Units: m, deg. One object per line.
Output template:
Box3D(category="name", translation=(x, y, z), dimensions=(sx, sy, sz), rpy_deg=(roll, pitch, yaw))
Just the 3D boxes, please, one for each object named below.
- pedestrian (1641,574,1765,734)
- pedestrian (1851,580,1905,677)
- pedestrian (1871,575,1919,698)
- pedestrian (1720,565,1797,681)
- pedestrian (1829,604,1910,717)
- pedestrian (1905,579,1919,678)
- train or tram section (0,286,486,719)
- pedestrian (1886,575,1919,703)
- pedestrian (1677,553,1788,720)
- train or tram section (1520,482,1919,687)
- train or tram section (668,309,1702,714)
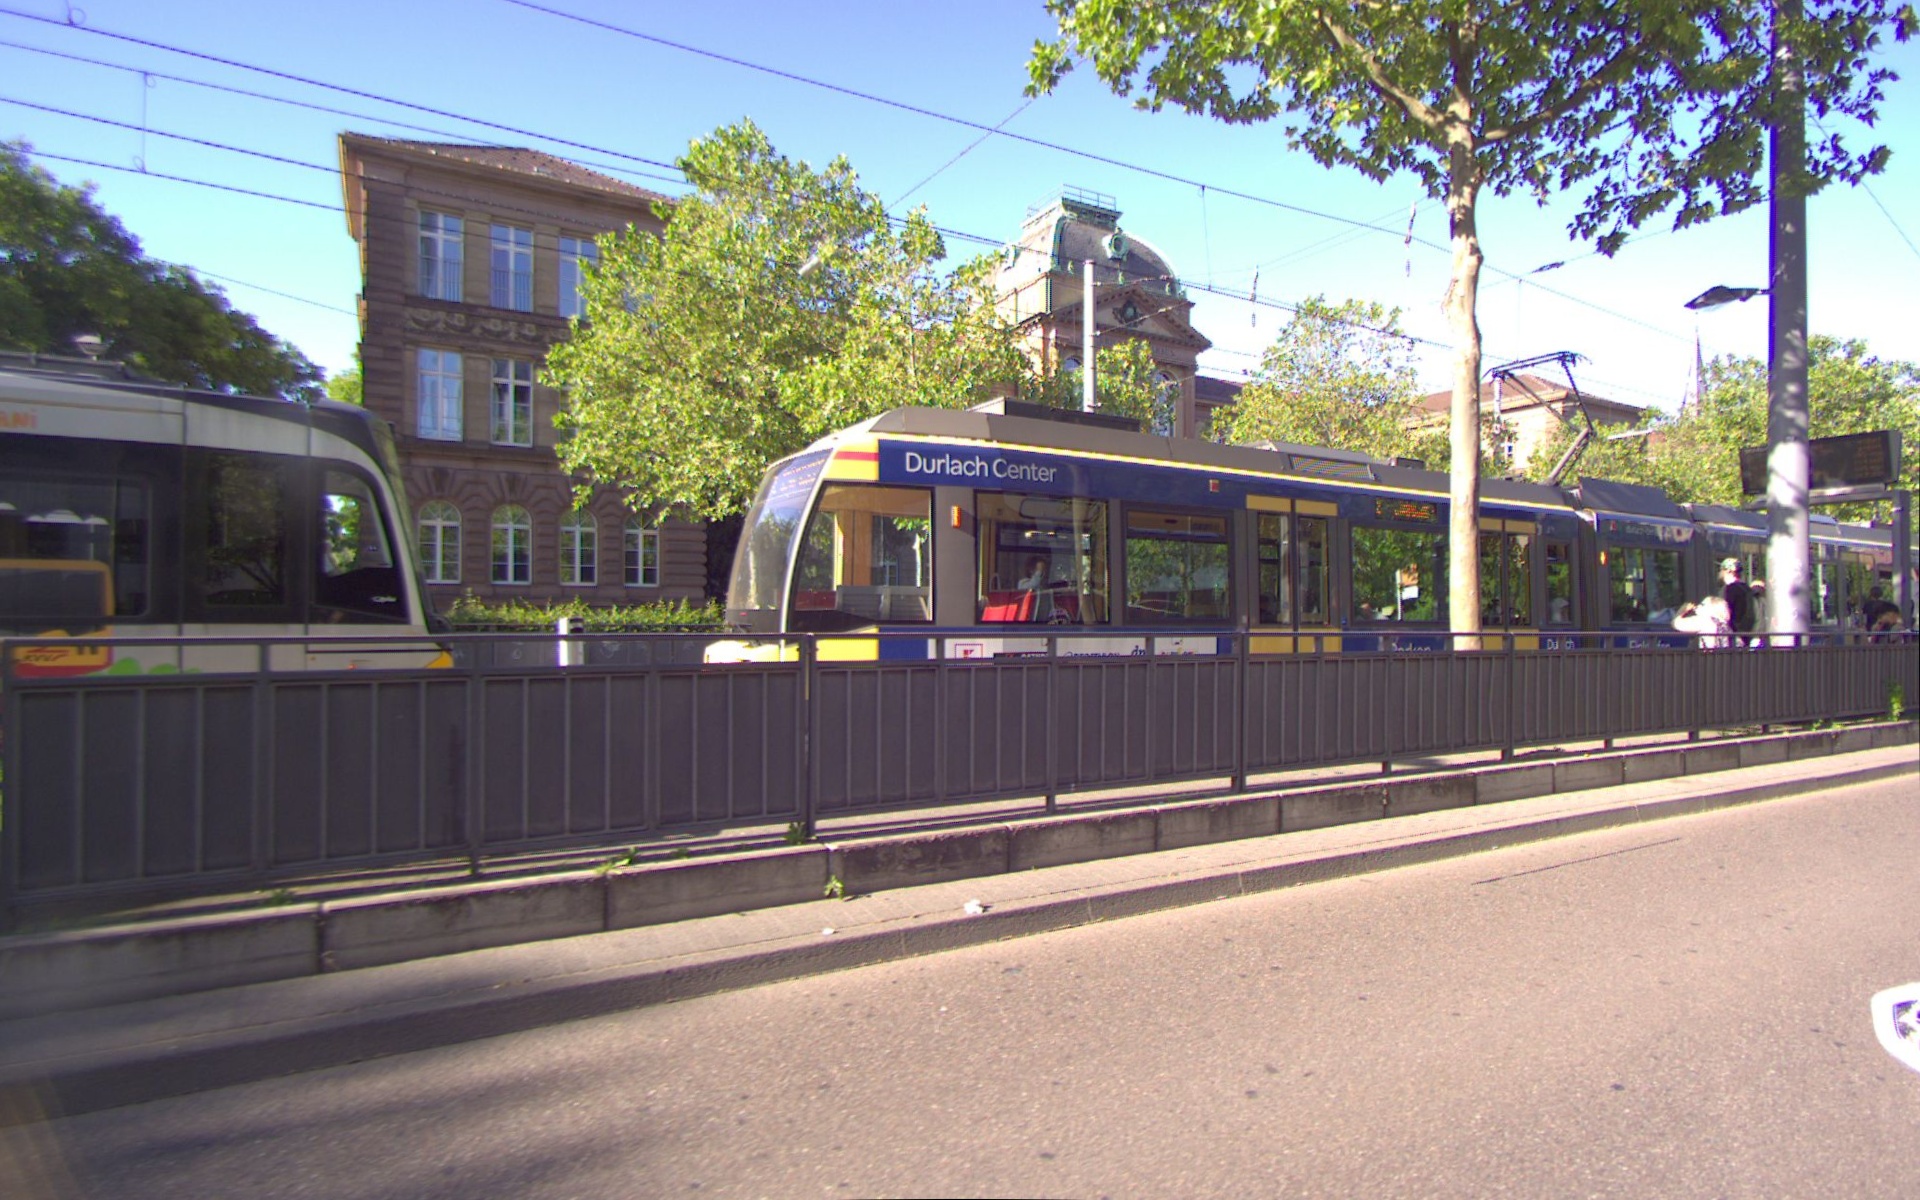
Box3D(category="pedestrian", translation=(7.467, 0.530, 10.107), dimensions=(0.744, 1.529, 0.771), rpy_deg=(1, -2, -33))
Box3D(category="pedestrian", translation=(16.816, 0.520, 18.401), dimensions=(0.540, 1.724, 0.605), rpy_deg=(1, -2, -34))
Box3D(category="pedestrian", translation=(13.691, 0.526, 14.571), dimensions=(0.614, 1.731, 0.512), rpy_deg=(1, -1, -30))
Box3D(category="pedestrian", translation=(9.345, 0.276, 11.762), dimensions=(0.598, 1.316, 0.531), rpy_deg=(1, -2, -33))
Box3D(category="pedestrian", translation=(10.577, 0.694, 11.686), dimensions=(0.598, 1.263, 0.531), rpy_deg=(1, -2, -32))
Box3D(category="pedestrian", translation=(17.049, 0.499, 17.546), dimensions=(0.739, 1.724, 0.629), rpy_deg=(1, -2, -34))
Box3D(category="train or tram section", translation=(-13.135, -0.845, 6.582), dimensions=(17.997, 3.480, 2.835), rpy_deg=(1, 0, -30))
Box3D(category="pedestrian", translation=(12.676, 0.505, 13.144), dimensions=(0.564, 1.655, 0.658), rpy_deg=(1, -1, -29))
Box3D(category="pedestrian", translation=(8.603, 0.404, 11.195), dimensions=(0.715, 1.775, 0.771), rpy_deg=(1, -2, -33))
Box3D(category="train or tram section", translation=(16.774, -0.070, 20.735), dimensions=(12.960, 3.303, 2.900), rpy_deg=(2, 0, -30))
Box3D(category="train or tram section", translation=(4.408, -0.498, 13.444), dimensions=(15.708, 3.303, 2.900), rpy_deg=(2, 0, -30))
